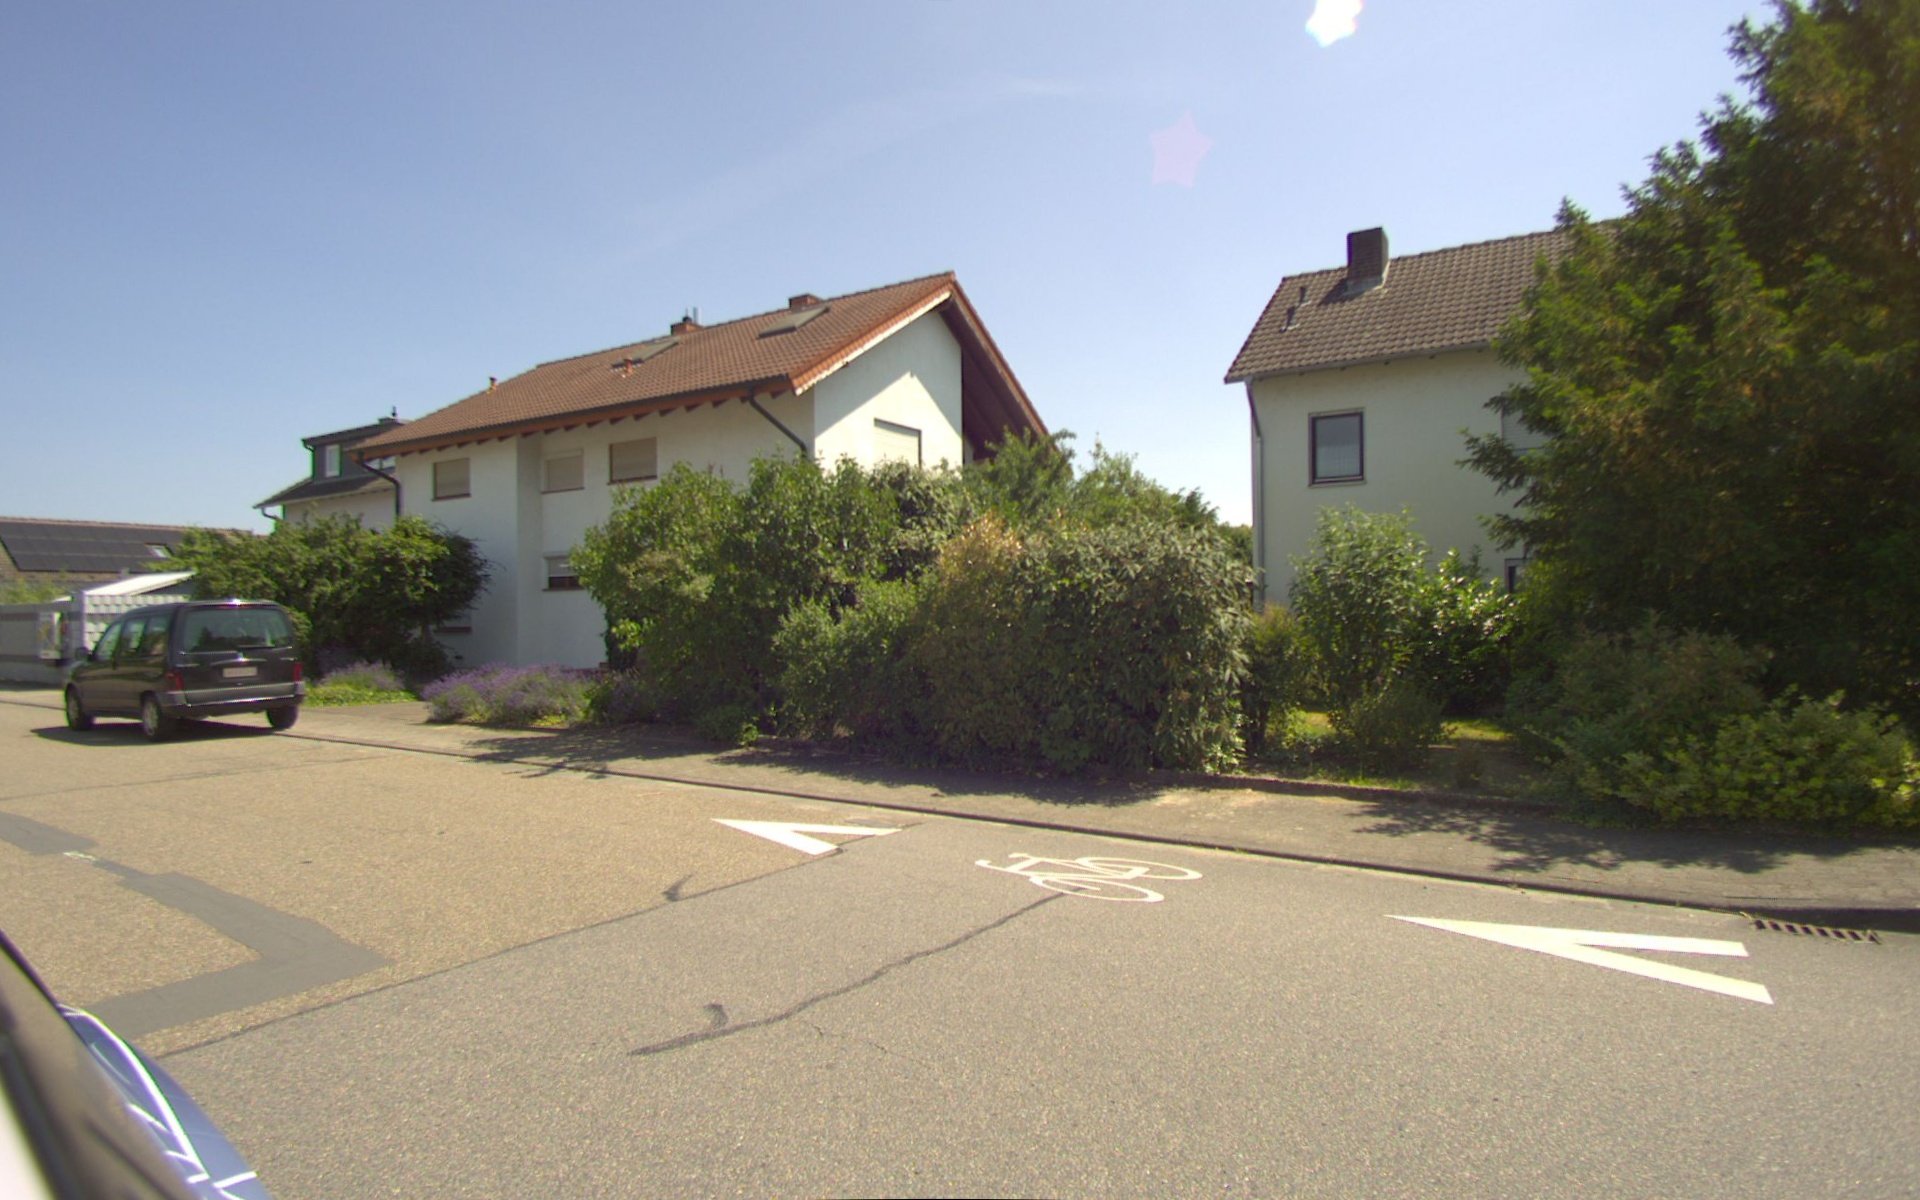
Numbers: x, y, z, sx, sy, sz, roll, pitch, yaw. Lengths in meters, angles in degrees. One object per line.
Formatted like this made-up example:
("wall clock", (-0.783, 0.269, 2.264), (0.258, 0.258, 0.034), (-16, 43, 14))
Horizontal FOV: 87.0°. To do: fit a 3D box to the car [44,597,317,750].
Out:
("car", (-10.925, 0.927, 14.131), (4.040, 1.860, 1.705), (-1, -1, 31))
